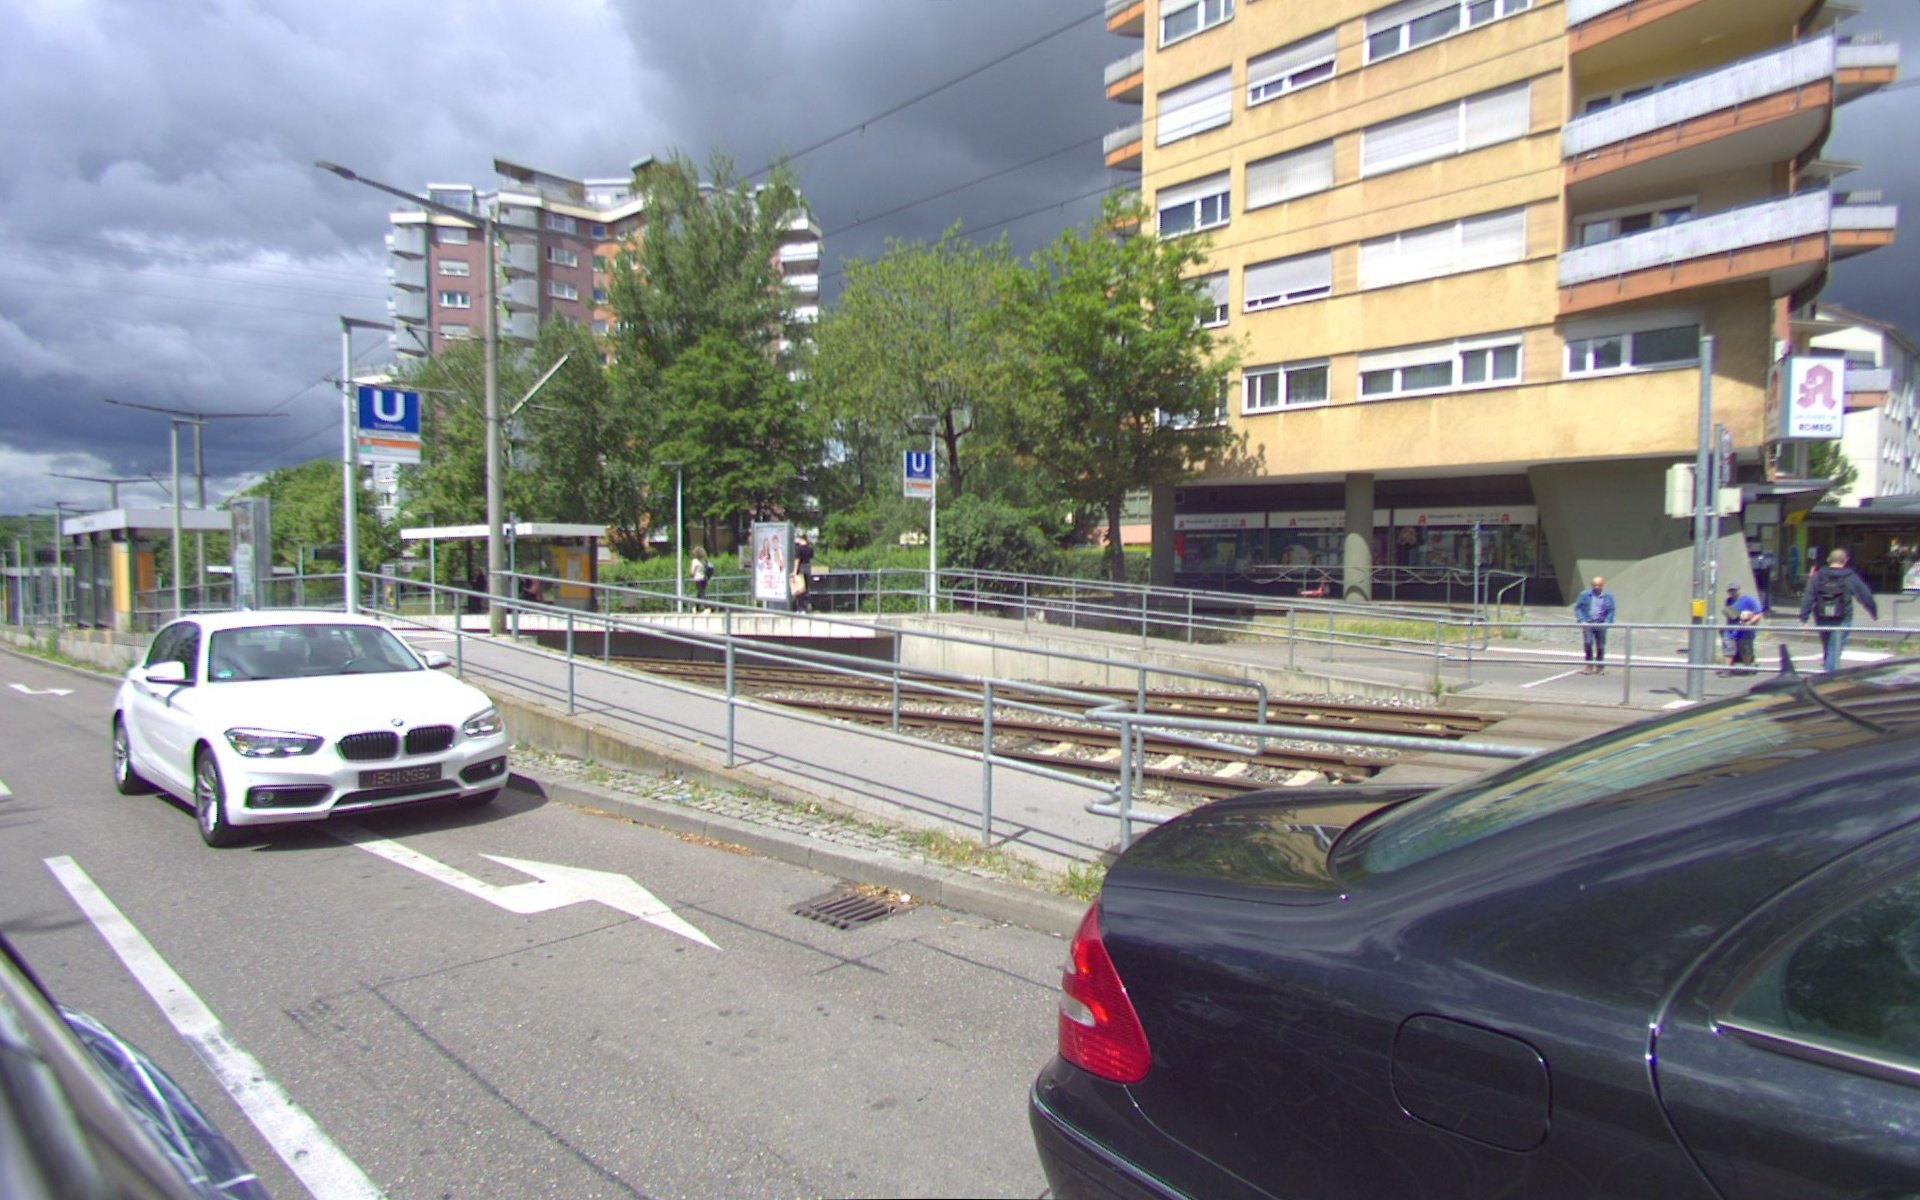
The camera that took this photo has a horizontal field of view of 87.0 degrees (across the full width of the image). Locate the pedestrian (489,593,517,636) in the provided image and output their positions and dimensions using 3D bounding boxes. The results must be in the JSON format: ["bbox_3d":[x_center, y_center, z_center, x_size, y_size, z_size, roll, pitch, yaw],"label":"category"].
[{"bbox_3d":[-15.157,0.473,33.579,0.658,1.425,0.637,0,0,41],"label":"pedestrian"}]

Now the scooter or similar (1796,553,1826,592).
[{"bbox_3d":[24.875,-0.790,29.587,0.544,1.102,1.731,0,0,36],"label":"scooter or similar"}]

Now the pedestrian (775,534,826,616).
[{"bbox_3d":[-3.550,-0.541,22.555,0.747,1.787,0.854,0,0,40],"label":"pedestrian"}]

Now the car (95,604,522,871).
[{"bbox_3d":[-5.122,0.783,7.684,4.277,1.462,1.769,0,-2,44],"label":"car"}]

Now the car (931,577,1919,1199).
[{"bbox_3d":[2.325,0.675,0.946,4.674,1.409,1.950,0,0,42],"label":"car"}]

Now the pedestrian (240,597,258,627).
[{"bbox_3d":[-41.142,0.680,58.554,0.763,1.718,0.767,0,0,-41],"label":"pedestrian"}]

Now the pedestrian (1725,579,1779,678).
[{"bbox_3d":[12.628,0.439,16.138,0.649,1.525,0.711,0,0,41],"label":"pedestrian"}]

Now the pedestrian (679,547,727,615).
[{"bbox_3d":[-6.246,-0.451,24.576,0.747,1.618,0.854,0,0,40],"label":"pedestrian"}]

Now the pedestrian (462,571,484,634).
[{"bbox_3d":[-17.106,0.084,35.562,0.608,2.157,0.525,0,0,44],"label":"pedestrian"}]

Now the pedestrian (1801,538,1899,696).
[{"bbox_3d":[11.532,0.206,13.119,0.907,1.949,0.854,0,0,-42],"label":"pedestrian"}]

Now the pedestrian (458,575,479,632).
[{"bbox_3d":[-17.494,0.126,36.021,0.557,2.029,0.510,0,0,41],"label":"pedestrian"}]

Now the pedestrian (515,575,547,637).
[{"bbox_3d":[-13.655,0.199,32.232,0.572,1.946,0.761,0,0,39],"label":"pedestrian"}]

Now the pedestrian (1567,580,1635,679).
[{"bbox_3d":[10.744,0.483,16.970,0.909,1.609,0.712,0,0,37],"label":"pedestrian"}]

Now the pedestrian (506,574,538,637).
[{"bbox_3d":[-14.253,0.169,32.937,0.584,2.029,0.770,0,0,41],"label":"pedestrian"}]
